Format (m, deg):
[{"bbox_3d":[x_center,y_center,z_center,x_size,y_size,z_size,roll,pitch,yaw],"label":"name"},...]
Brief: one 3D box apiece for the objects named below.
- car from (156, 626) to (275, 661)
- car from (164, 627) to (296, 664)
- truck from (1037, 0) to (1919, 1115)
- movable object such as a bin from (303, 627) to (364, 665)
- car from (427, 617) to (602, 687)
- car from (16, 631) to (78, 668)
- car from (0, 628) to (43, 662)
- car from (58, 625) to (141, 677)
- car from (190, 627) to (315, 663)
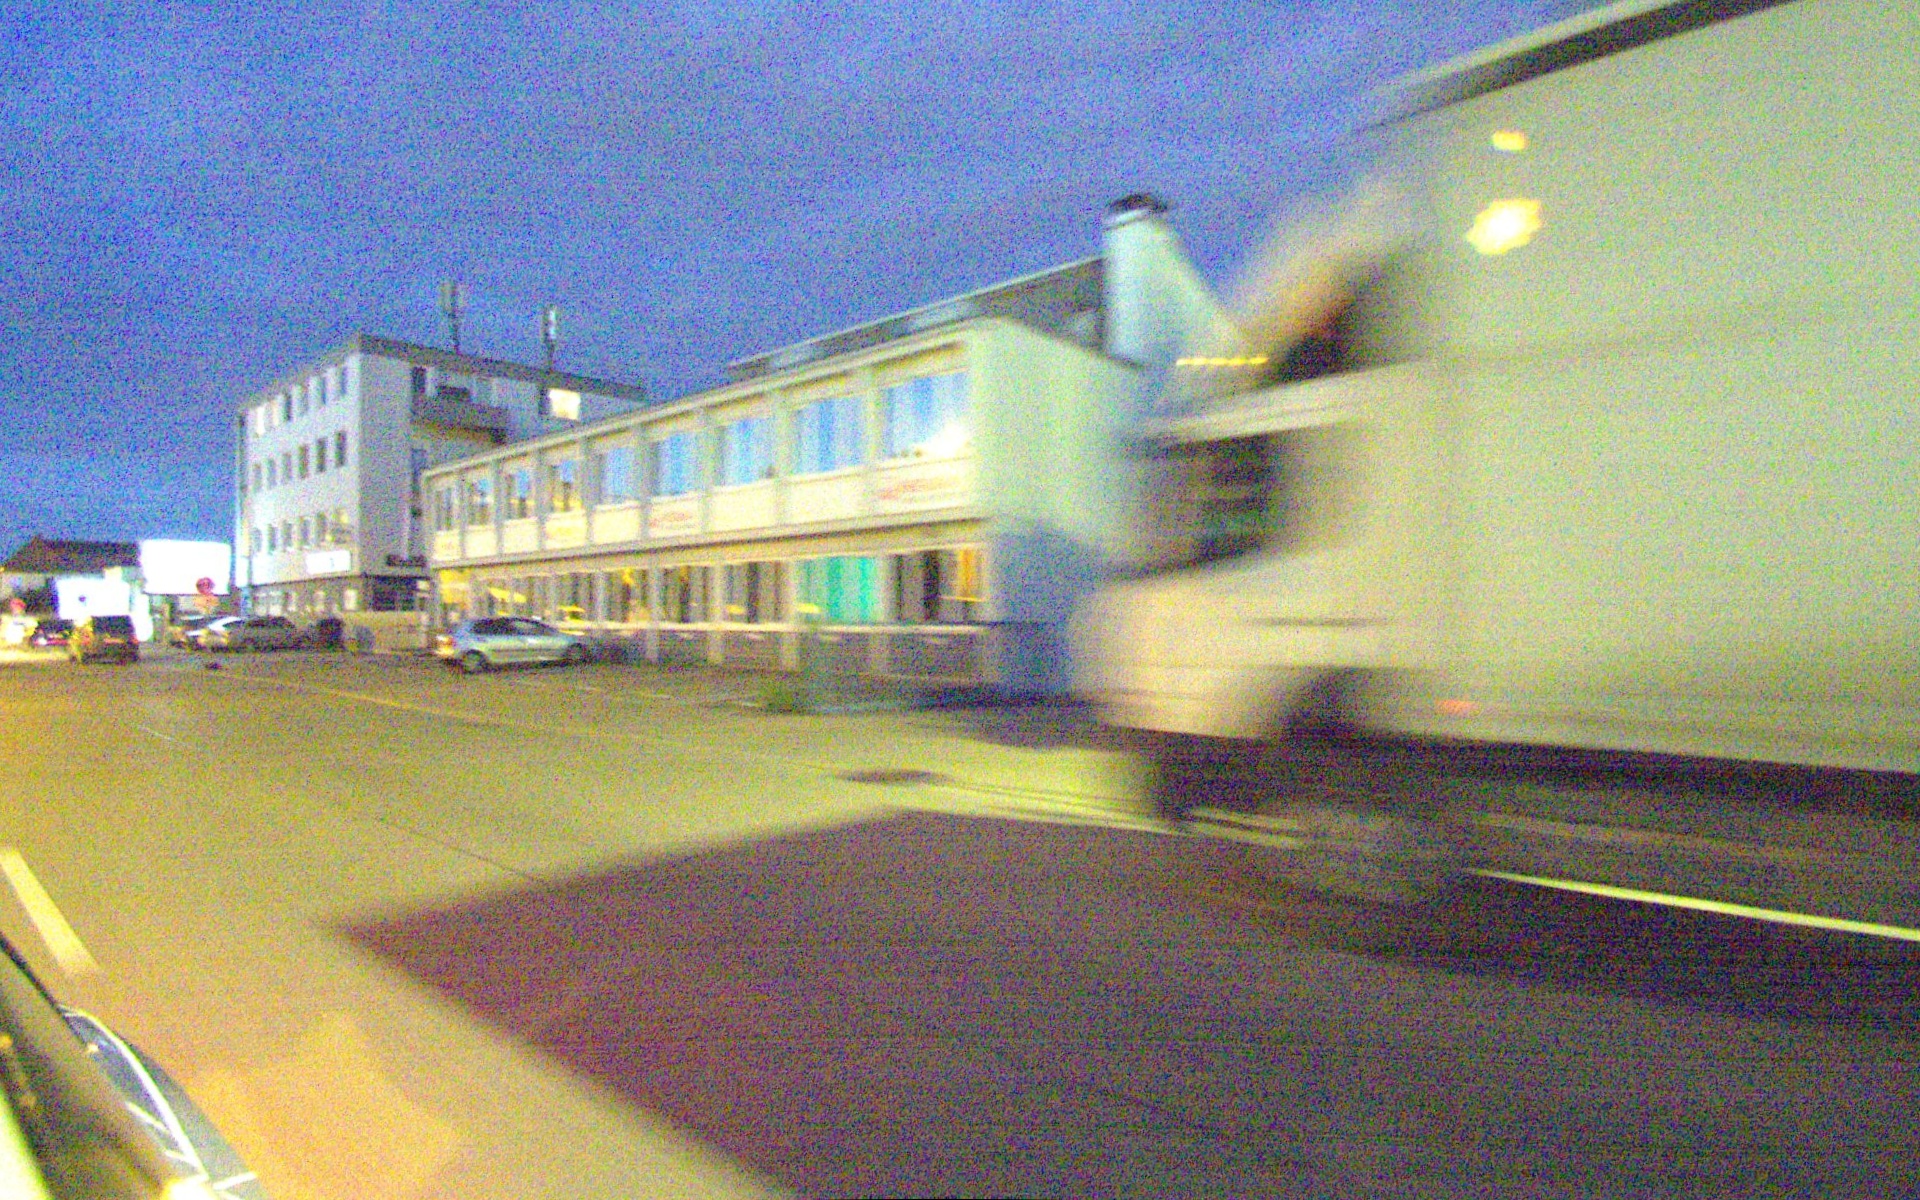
[{"bbox_3d":[-36.365,2.097,49.561,1.983,1.572,4.389,-1,-1,18],"label":"car"},{"bbox_3d":[-32.605,1.991,45.375,1.980,1.563,4.652,-1,-1,13],"label":"car"},{"bbox_3d":[4.912,-0.467,3.143,9.553,4.065,2.718,-2,-4,41],"label":"truck"},{"bbox_3d":[-26.119,1.896,42.204,1.609,1.511,1.837,-2,-1,43],"label":"movable object such as a bin"},{"bbox_3d":[-12.011,1.358,27.340,4.072,1.443,1.902,-5,1,-30],"label":"car"},{"bbox_3d":[-44.164,2.362,48.904,4.817,1.701,1.925,-2,-2,44],"label":"car"},{"bbox_3d":[-52.166,2.463,55.931,4.878,1.812,1.785,-2,-2,43],"label":"car"},{"bbox_3d":[-32.977,1.905,38.761,4.413,1.863,1.794,-1,-2,41],"label":"car"},{"bbox_3d":[-30.427,1.905,43.696,1.776,1.451,4.396,-1,-1,13],"label":"car"}]
